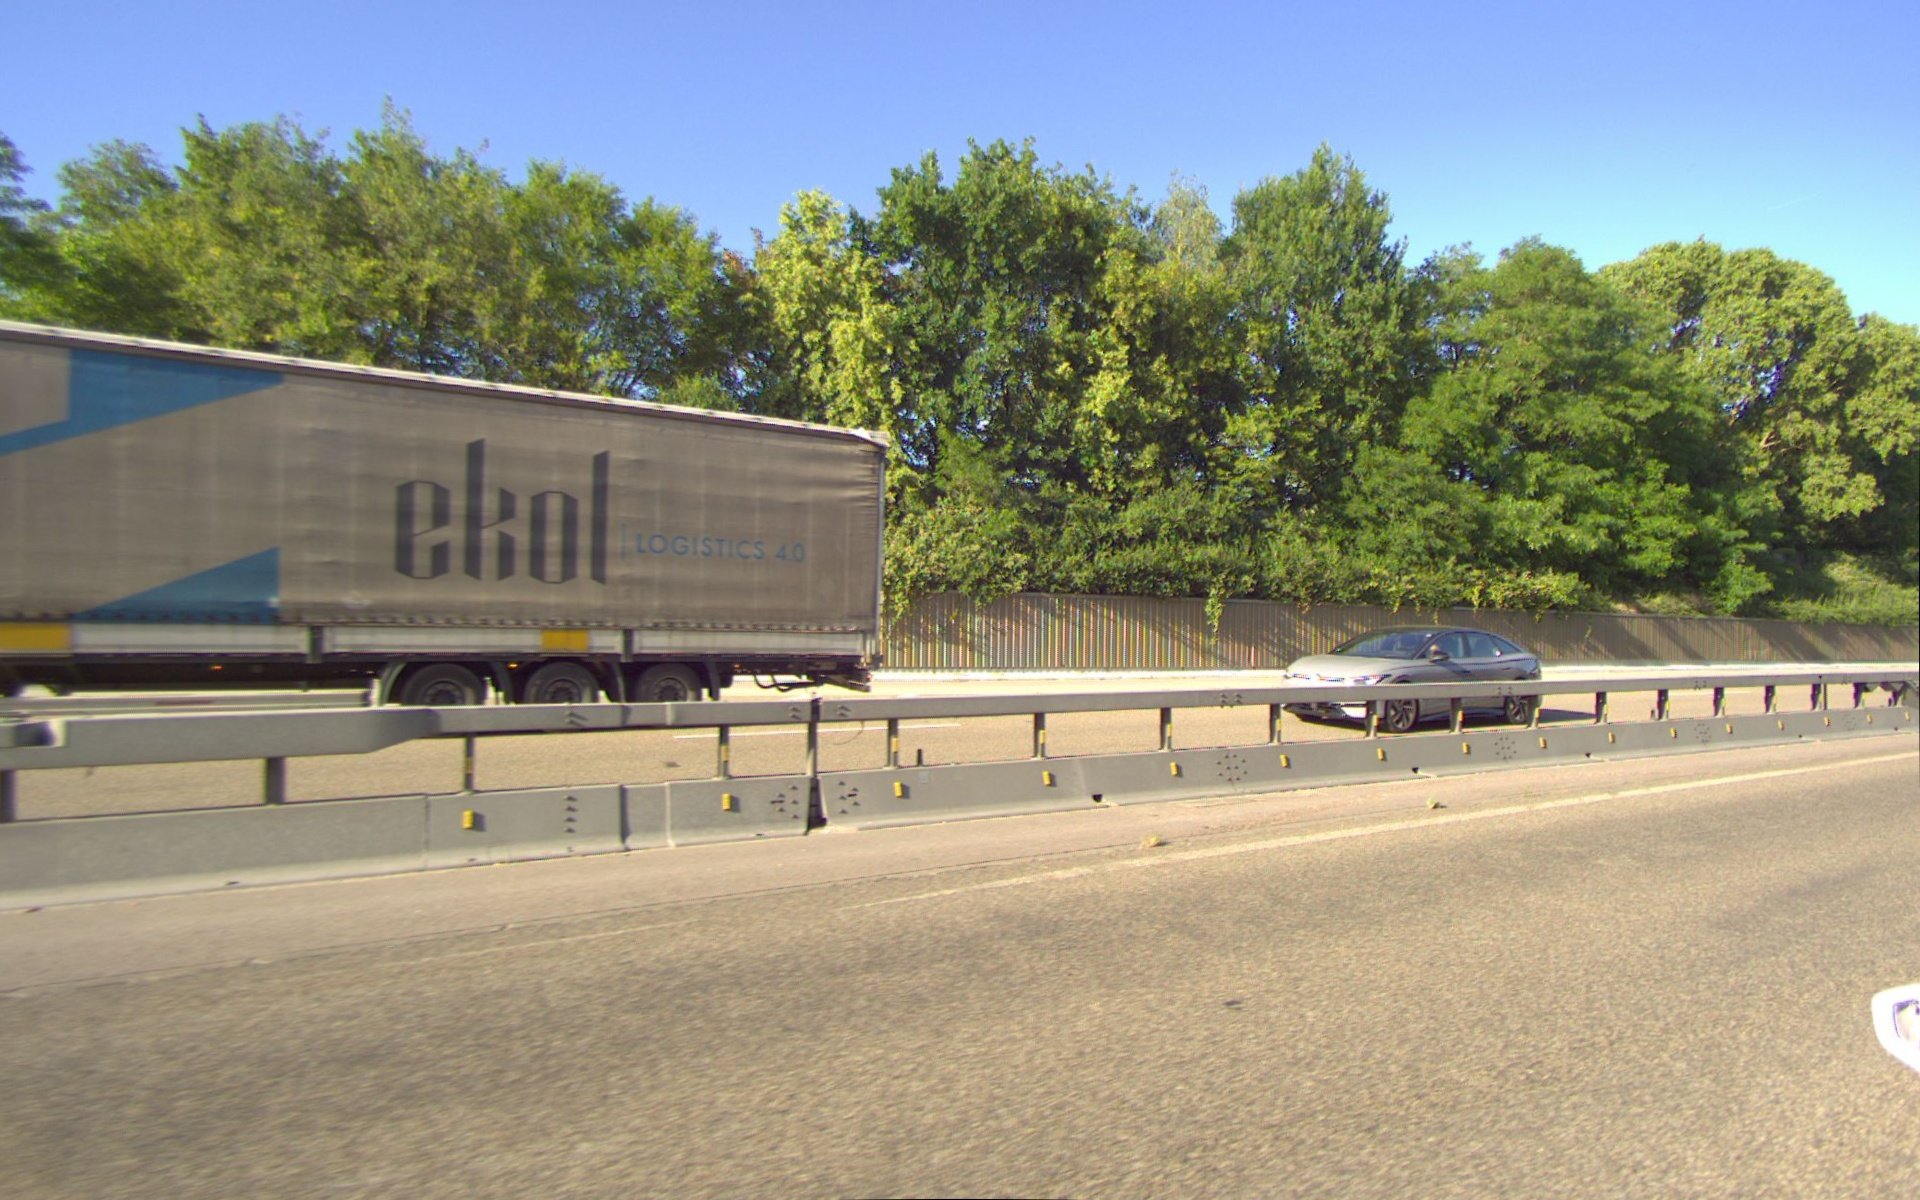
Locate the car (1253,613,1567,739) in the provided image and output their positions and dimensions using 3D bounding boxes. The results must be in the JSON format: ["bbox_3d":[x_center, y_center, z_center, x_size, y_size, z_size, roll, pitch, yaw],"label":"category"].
[{"bbox_3d":[7.189,1.085,15.945,4.876,1.680,1.985,1,1,-28],"label":"car"}]

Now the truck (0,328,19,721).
[{"bbox_3d":[-12.918,-0.835,8.803,6.312,4.319,2.722,0,1,-30],"label":"truck"}]

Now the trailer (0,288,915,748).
[{"bbox_3d":[-7.341,-0.770,12.082,13.919,4.337,2.734,1,1,-31],"label":"trailer"}]
